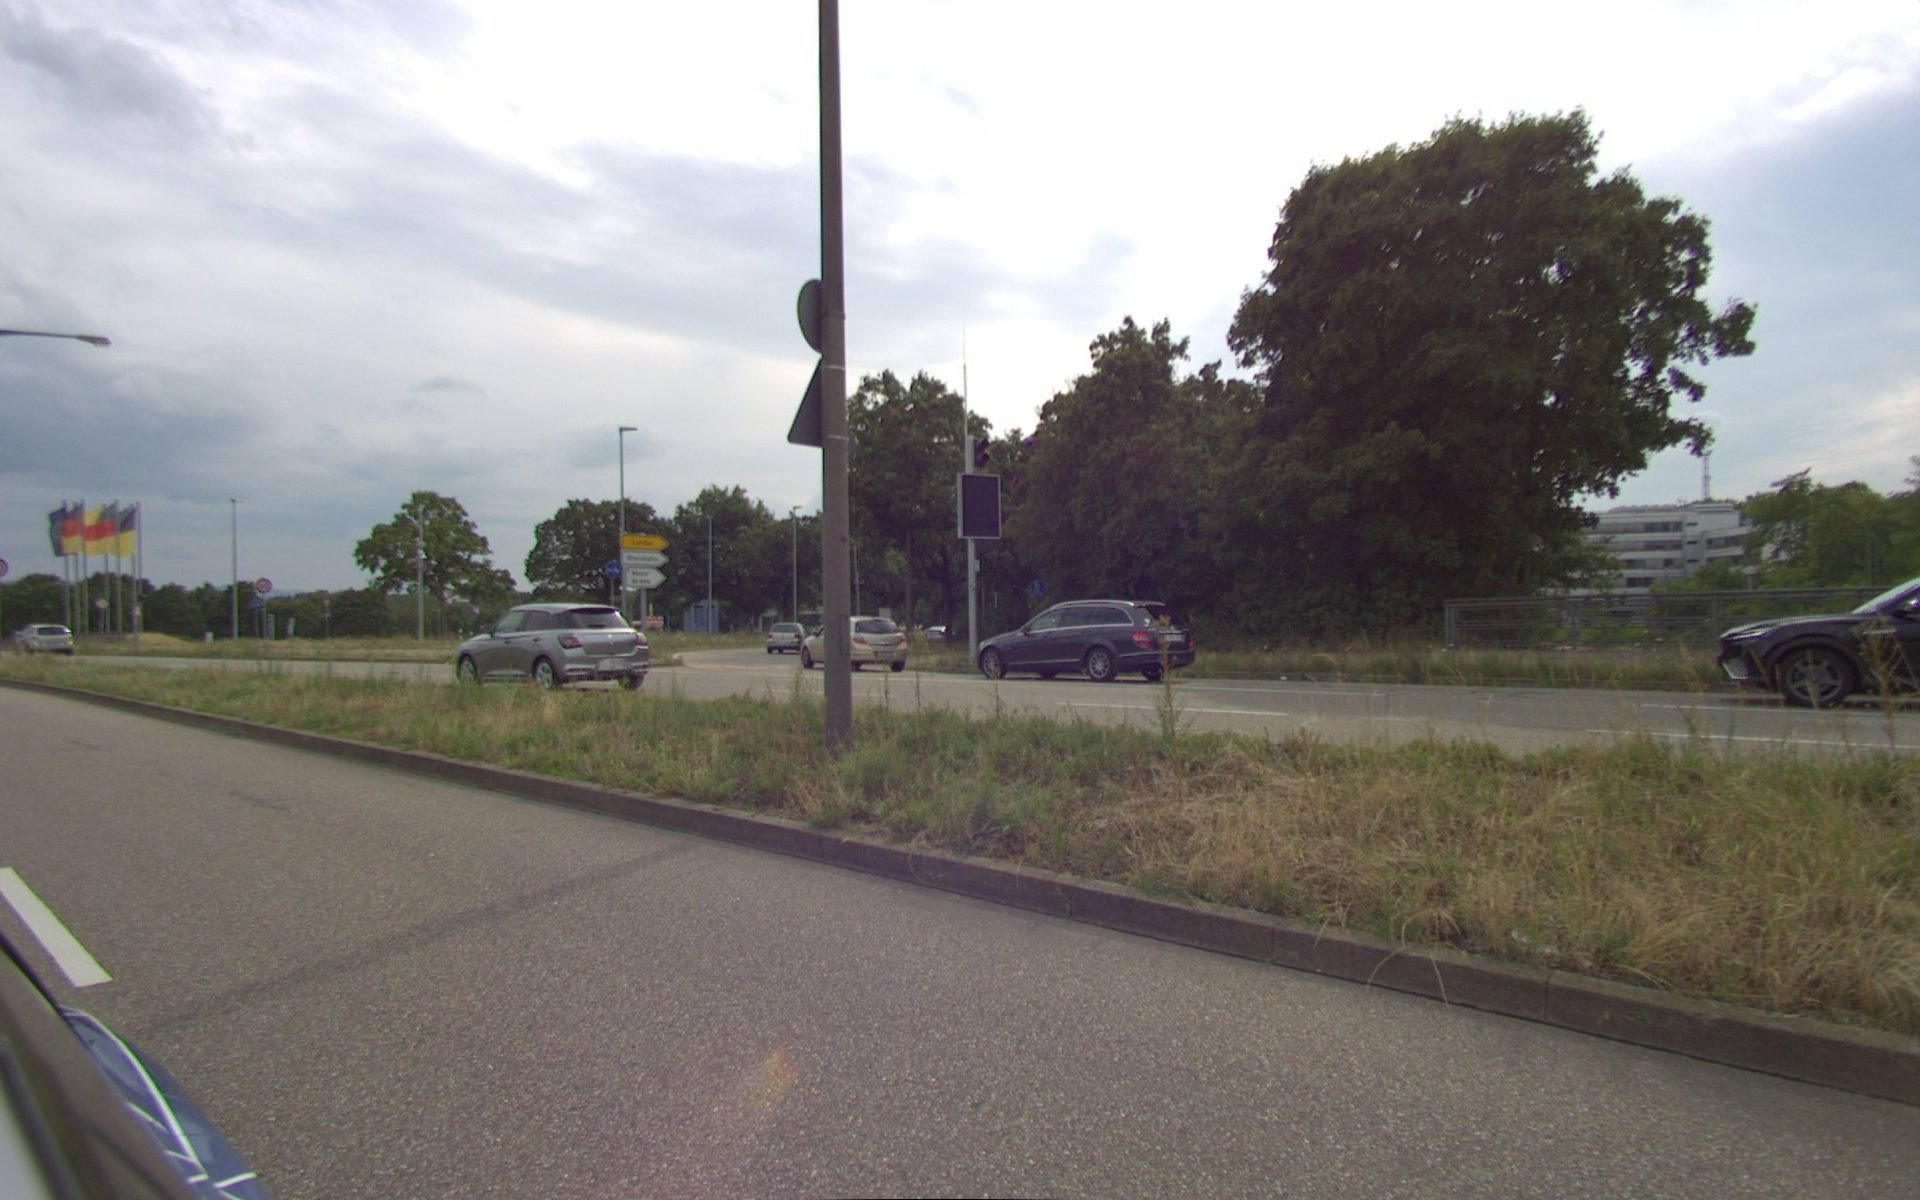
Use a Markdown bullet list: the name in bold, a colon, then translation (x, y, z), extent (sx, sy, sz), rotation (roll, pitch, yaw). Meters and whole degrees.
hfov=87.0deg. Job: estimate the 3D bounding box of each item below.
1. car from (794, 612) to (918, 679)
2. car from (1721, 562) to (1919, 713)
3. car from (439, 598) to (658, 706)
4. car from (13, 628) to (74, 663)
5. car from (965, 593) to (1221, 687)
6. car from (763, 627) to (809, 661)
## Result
- **car**: translation (-2.881, 1.232, 27.312), extent (1.793, 1.619, 3.908), rotation (3, -4, -31)
- **car**: translation (11.435, 0.361, 11.131), extent (4.755, 1.619, 1.868), rotation (-4, -2, 40)
- **car**: translation (-7.028, 0.851, 17.130), extent (3.872, 1.619, 1.754), rotation (-3, -2, 39)
- **car**: translation (-47.109, 2.322, 52.013), extent (3.872, 1.619, 1.754), rotation (0, 0, 39)
- **car**: translation (2.356, 0.820, 18.966), extent (1.864, 1.539, 4.673), rotation (4, -6, -42)
- **car**: translation (-8.096, 2.019, 47.234), extent (1.968, 1.293, 4.007), rotation (-3, 1, -8)
